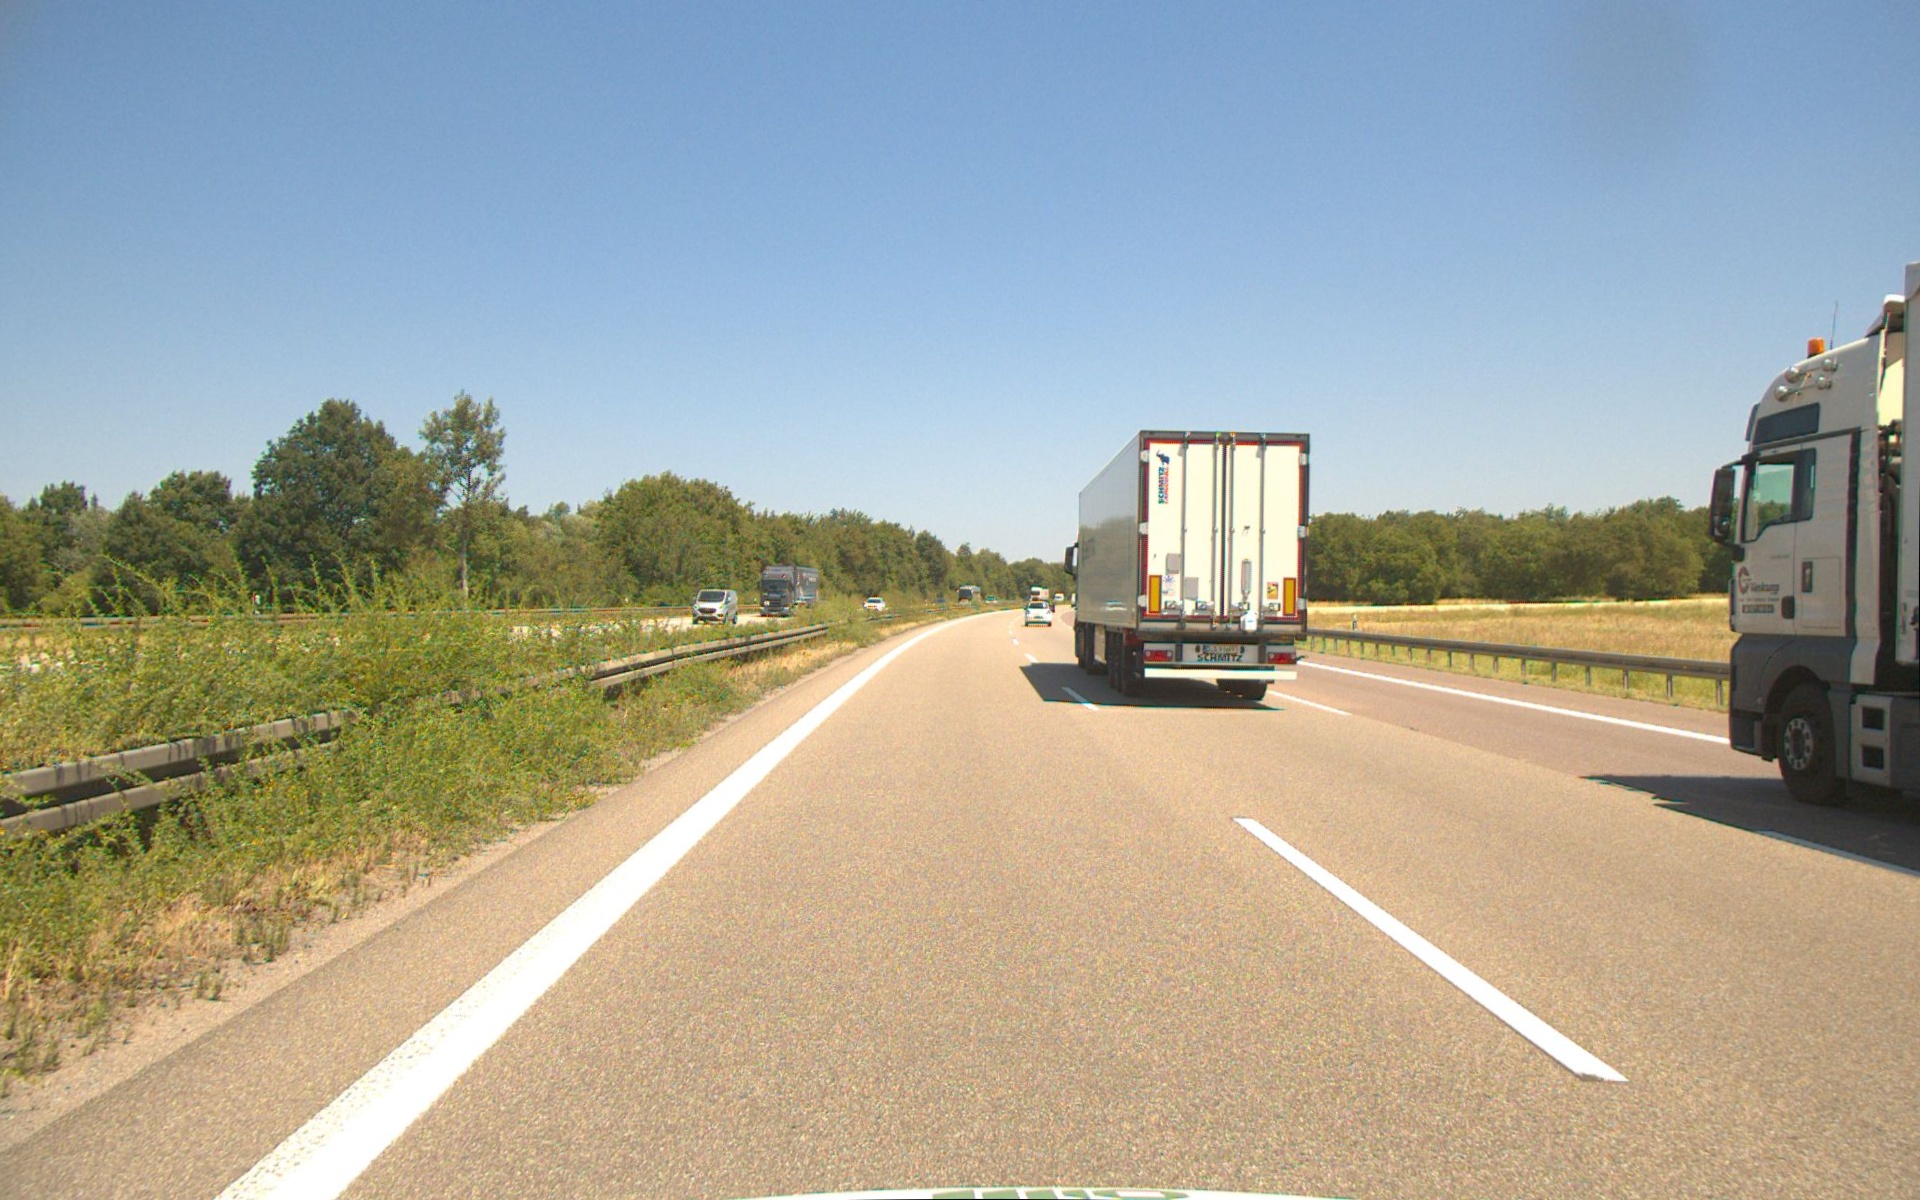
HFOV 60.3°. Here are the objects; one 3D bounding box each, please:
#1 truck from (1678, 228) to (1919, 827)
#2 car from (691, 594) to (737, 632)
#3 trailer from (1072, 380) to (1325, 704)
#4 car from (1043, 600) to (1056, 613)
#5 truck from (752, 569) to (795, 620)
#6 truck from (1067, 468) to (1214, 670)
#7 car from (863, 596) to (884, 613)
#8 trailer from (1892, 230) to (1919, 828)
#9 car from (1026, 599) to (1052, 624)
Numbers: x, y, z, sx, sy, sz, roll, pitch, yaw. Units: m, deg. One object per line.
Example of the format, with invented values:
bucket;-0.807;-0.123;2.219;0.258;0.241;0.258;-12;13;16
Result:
truck;8.199;-0.511;13.345;2.547;4.330;5.088;1;0;0
car;-14.329;0.738;96.485;2.016;2.107;5.407;0;0;-2
trailer;3.991;-0.868;31.377;2.841;4.738;13.987;1;0;1
car;11.235;0.825;208.270;1.593;1.505;4.002;0;0;3
truck;-14.793;-0.451;131.473;2.833;3.984;4.001;0;0;2
truck;4.076;-0.669;38.335;2.848;4.330;4.975;1;0;0
car;-8.422;0.433;161.757;1.804;1.614;4.488;0;0;0
trailer;8.314;-0.572;5.506;2.543;4.326;13.637;1;-1;-1
car;4.987;0.726;104.392;1.593;1.505;4.002;0;0;3
